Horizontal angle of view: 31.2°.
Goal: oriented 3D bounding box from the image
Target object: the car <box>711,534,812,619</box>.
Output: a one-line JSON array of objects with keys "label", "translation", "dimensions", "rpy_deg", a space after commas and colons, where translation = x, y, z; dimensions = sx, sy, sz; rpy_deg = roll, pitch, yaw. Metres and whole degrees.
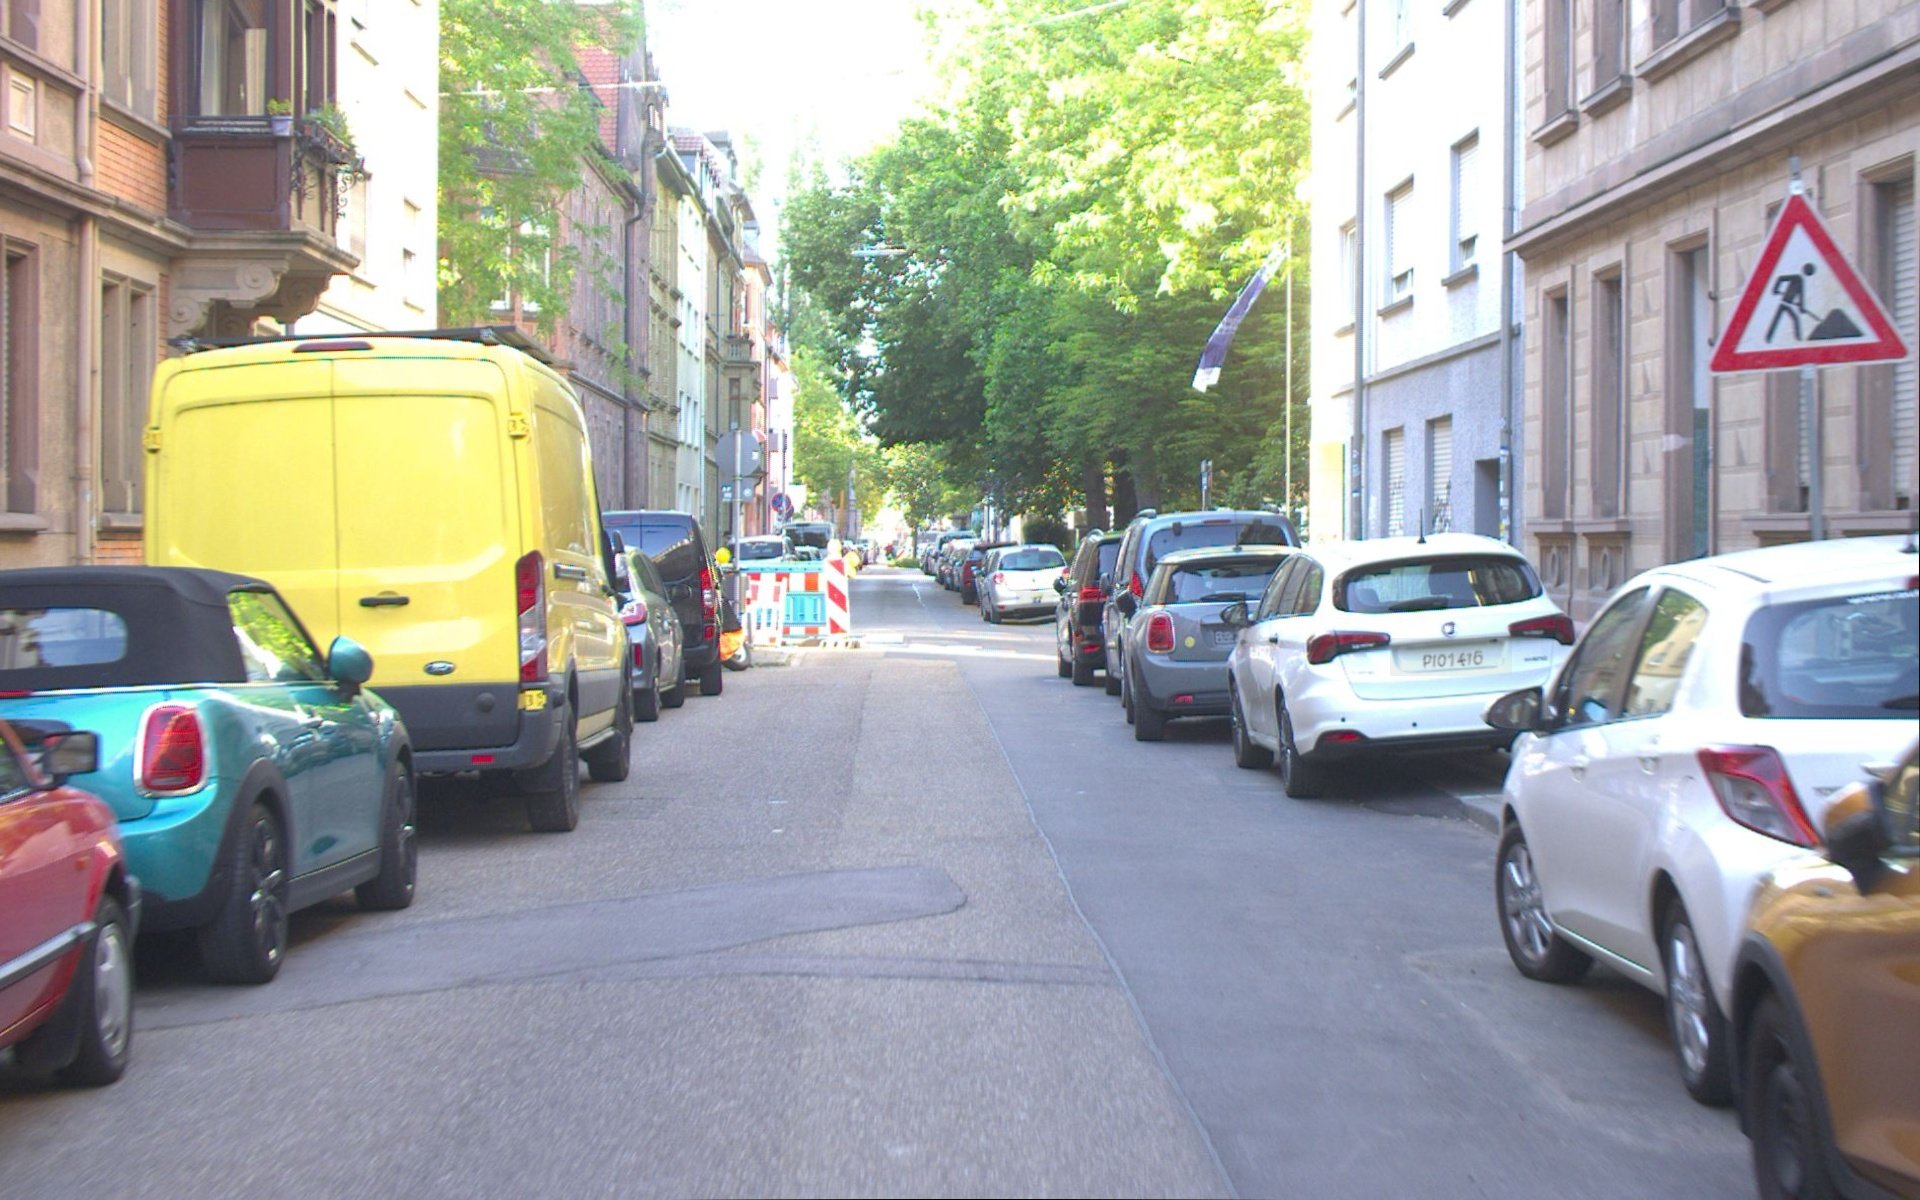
[{"label": "car", "translation": [-4.200, -0.504, 73.273], "dimensions": [1.882, 1.701, 4.000], "rpy_deg": [-2, 1, 0]}]

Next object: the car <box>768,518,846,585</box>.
[{"label": "car", "translation": [-4.922, -1.567, 111.219], "dimensions": [2.309, 2.107, 5.170], "rpy_deg": [0, 1, 0]}]

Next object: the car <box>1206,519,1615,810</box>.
[{"label": "car", "translation": [2.715, 0.313, 21.712], "dimensions": [1.753, 1.513, 4.444], "rpy_deg": [-4, 2, -2]}]

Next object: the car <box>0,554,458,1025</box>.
[{"label": "car", "translation": [-3.142, 0.618, 12.871], "dimensions": [1.718, 1.408, 3.897], "rpy_deg": [-5, 1, 2]}]

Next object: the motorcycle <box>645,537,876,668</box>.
[{"label": "motorcycle", "translation": [-2.301, 0.009, 39.780], "dimensions": [2.512, 1.477, 0.904], "rpy_deg": [0, 1, -28]}]

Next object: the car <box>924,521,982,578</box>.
[{"label": "car", "translation": [-0.312, -2.030, 138.746], "dimensions": [2.160, 2.248, 4.526], "rpy_deg": [0, 1, -2]}]

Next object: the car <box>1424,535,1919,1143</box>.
[{"label": "car", "translation": [2.736, 0.588, 11.073], "dimensions": [1.720, 1.475, 4.083], "rpy_deg": [-4, 1, -2]}]

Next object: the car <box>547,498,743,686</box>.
[{"label": "car", "translation": [-3.092, -0.115, 34.329], "dimensions": [1.818, 1.760, 4.336], "rpy_deg": [0, 1, -4]}]

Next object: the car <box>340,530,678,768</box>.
[{"label": "car", "translation": [-3.150, 0.283, 24.774], "dimensions": [1.993, 1.546, 4.000], "rpy_deg": [-1, 1, -2]}]

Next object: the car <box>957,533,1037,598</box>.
[{"label": "car", "translation": [0.923, -0.884, 88.405], "dimensions": [1.894, 1.619, 4.000], "rpy_deg": [0, 1, -2]}]

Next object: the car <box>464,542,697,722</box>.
[{"label": "car", "translation": [-3.225, 0.228, 29.786], "dimensions": [1.677, 1.444, 3.645], "rpy_deg": [1, 1, -1]}]

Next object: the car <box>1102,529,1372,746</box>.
[{"label": "car", "translation": [2.137, 0.236, 27.595], "dimensions": [1.754, 1.448, 4.288], "rpy_deg": [-4, 2, 1]}]

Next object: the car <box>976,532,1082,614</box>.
[{"label": "car", "translation": [1.318, -0.550, 67.211], "dimensions": [1.723, 1.517, 4.001], "rpy_deg": [-1, 1, -4]}]

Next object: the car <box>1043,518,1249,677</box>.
[{"label": "car", "translation": [1.974, -0.047, 37.698], "dimensions": [1.900, 1.634, 4.391], "rpy_deg": [0, 1, -1]}]

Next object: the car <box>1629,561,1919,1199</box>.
[{"label": "car", "translation": [2.586, 0.650, 6.099], "dimensions": [1.753, 1.441, 4.069], "rpy_deg": [-4, 1, -3]}]

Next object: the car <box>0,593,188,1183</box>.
[{"label": "car", "translation": [-3.063, 0.716, 8.319], "dimensions": [1.618, 1.322, 3.613], "rpy_deg": [-3, 1, -2]}]

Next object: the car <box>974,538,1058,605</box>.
[{"label": "car", "translation": [1.337, -0.715, 83.579], "dimensions": [1.841, 1.590, 4.000], "rpy_deg": [0, 1, -2]}]

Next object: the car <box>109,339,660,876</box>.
[{"label": "car", "translation": [-3.030, -0.023, 19.534], "dimensions": [2.175, 2.499, 5.879], "rpy_deg": [-3, 1, -1]}]

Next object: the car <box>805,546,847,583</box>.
[{"label": "car", "translation": [-6.314, -1.688, 161.413], "dimensions": [1.950, 1.703, 4.000], "rpy_deg": [0, 1, -3]}]

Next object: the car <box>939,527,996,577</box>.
[{"label": "car", "translation": [0.243, -1.694, 120.065], "dimensions": [1.829, 1.698, 4.001], "rpy_deg": [0, 1, -2]}]

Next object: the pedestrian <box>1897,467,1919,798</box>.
[{"label": "pedestrian", "translation": [5.186, 0.143, 16.850], "dimensions": [0.654, 1.625, 0.880], "rpy_deg": [-2, 0, -43]}]

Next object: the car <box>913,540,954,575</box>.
[{"label": "car", "translation": [-1.366, -2.193, 176.282], "dimensions": [1.993, 1.722, 4.000], "rpy_deg": [-1, 1, -1]}]

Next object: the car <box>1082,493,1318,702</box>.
[{"label": "car", "translation": [2.228, -0.082, 33.029], "dimensions": [1.753, 1.780, 4.724], "rpy_deg": [-3, 1, -1]}]
